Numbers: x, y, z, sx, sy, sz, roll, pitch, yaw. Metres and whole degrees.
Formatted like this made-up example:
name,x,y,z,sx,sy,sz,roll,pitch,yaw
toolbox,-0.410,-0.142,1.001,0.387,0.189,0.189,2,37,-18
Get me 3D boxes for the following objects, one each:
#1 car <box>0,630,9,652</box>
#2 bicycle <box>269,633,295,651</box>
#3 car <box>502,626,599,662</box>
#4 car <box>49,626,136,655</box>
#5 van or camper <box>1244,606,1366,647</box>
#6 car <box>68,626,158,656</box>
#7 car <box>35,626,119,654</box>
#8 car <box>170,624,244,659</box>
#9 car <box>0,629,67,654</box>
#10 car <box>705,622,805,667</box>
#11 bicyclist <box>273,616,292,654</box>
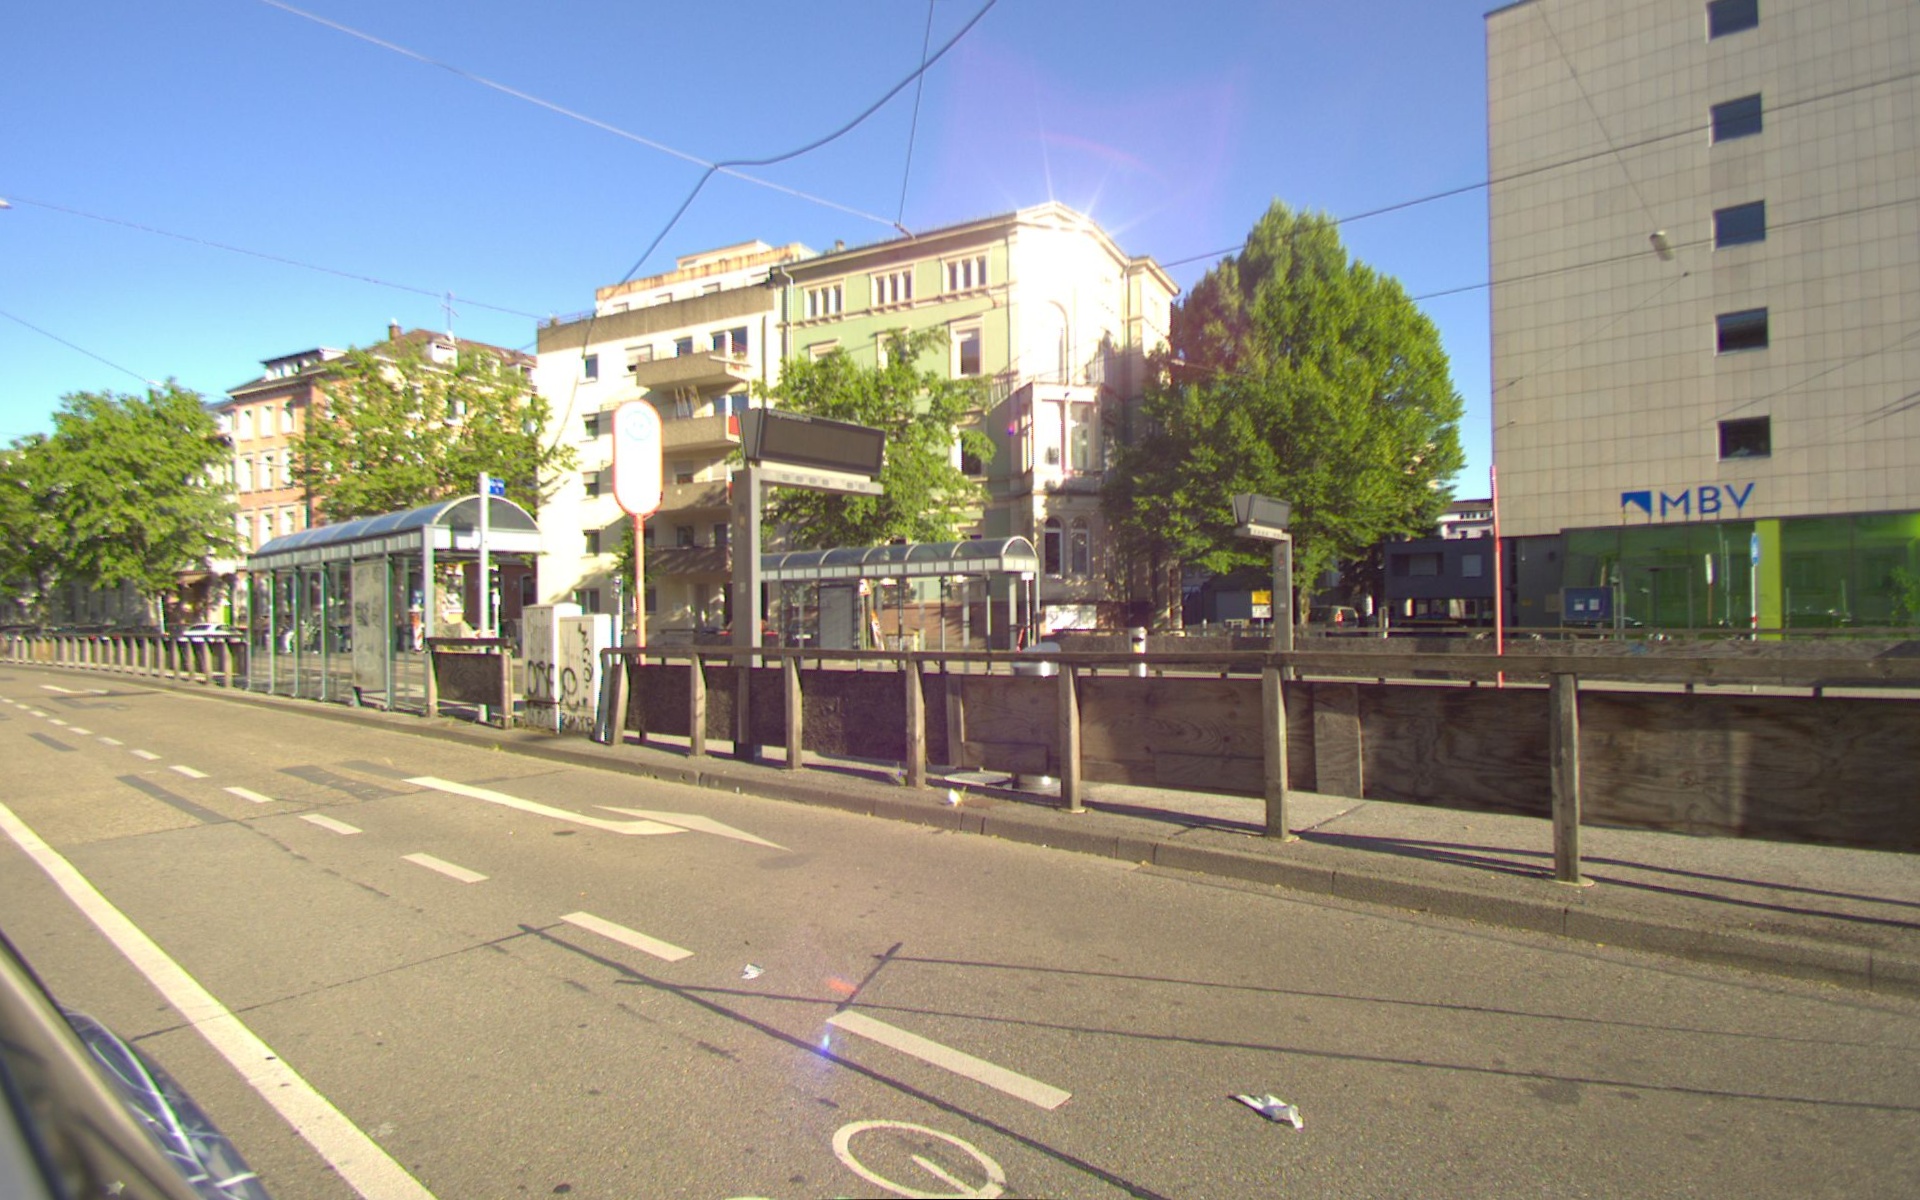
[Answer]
name,x,y,z,sx,sy,sz,roll,pitch,yaw
car,-70.475,2.938,72.140,2.001,1.604,3.812,-2,-2,44
bicycle,-31.606,1.958,47.153,1.852,0.793,0.529,-1,-2,41
car,-16.370,1.747,40.448,3.498,1.406,1.602,-1,-2,22
car,-53.667,2.493,62.665,2.001,1.697,3.942,-2,-2,44
van or camper,13.134,0.985,38.618,3.998,1.417,1.943,1,0,41
car,-50.349,2.399,60.194,2.001,1.697,3.942,-2,-2,44
car,-56.675,2.567,64.992,2.001,1.697,3.942,-2,-2,44
car,-41.893,2.260,56.416,1.966,1.736,4.012,0,0,-15
car,-61.984,2.734,67.300,3.811,1.604,2.001,1,-2,-45
car,-7.368,1.582,36.750,1.763,1.547,3.763,-1,-2,23
bicyclist,-31.584,1.624,47.158,0.770,1.774,0.529,-1,-2,41
